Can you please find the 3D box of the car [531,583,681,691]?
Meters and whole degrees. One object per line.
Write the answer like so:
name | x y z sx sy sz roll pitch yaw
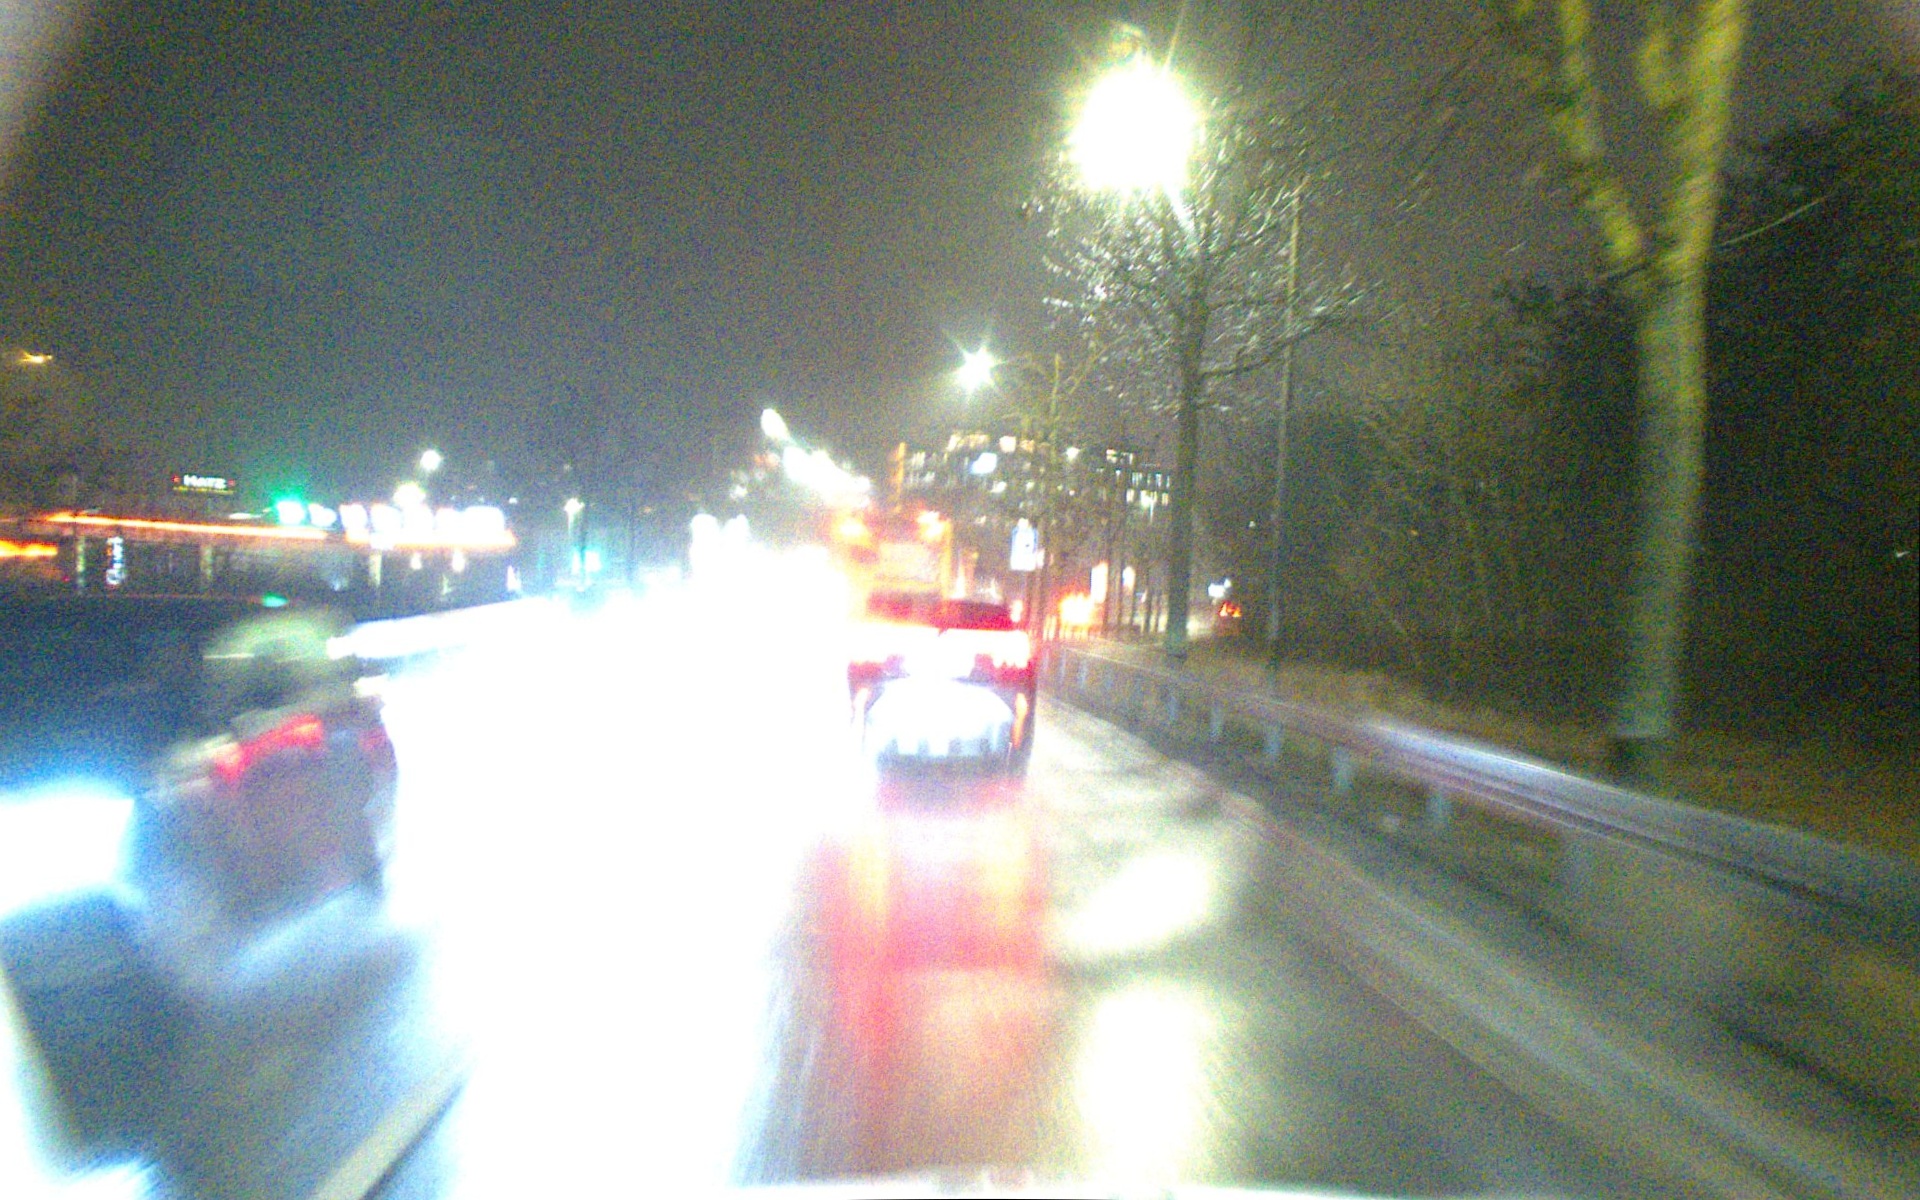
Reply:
car | -5.286 0.501 25.167 1.726 1.456 4.322 2 0 -6

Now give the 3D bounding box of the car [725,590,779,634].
car | -7.576 0.416 60.455 1.789 1.427 4.031 3 1 -6

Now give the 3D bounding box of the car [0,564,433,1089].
car | -3.472 0.626 6.715 1.586 1.504 4.043 1 0 -4

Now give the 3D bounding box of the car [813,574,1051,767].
car | -0.194 0.559 15.823 1.952 1.551 4.001 2 1 1

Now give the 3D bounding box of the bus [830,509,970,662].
bus | -1.383 -0.341 40.014 2.982 3.268 9.048 0 0 -1
